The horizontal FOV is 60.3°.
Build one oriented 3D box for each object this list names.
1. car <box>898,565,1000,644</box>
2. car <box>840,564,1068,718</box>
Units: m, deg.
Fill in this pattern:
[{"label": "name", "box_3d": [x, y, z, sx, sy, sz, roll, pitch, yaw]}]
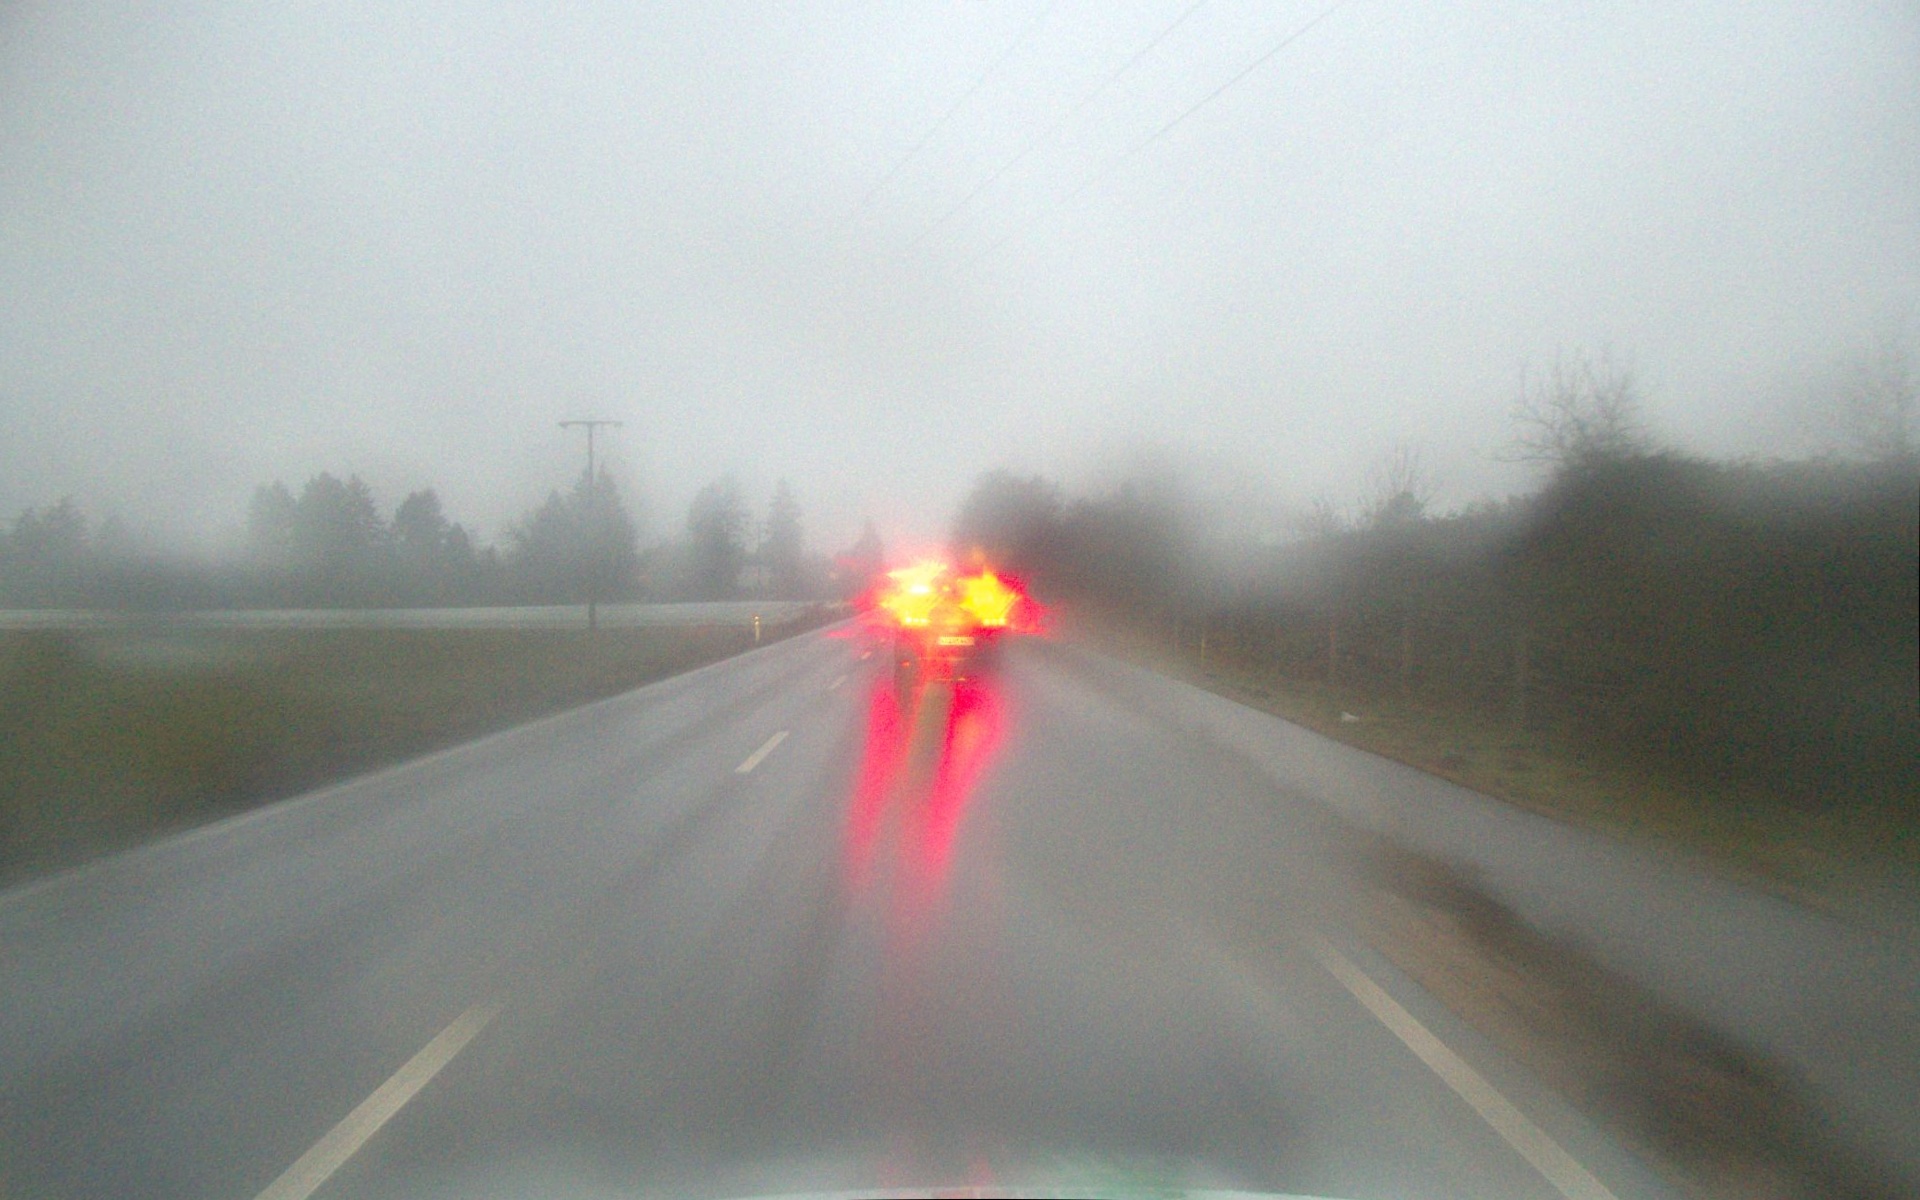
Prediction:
[{"label": "car", "box_3d": [-0.300, 0.097, 47.697, 2.699, 2.071, 6.590, -1, 0, 0]}, {"label": "car", "box_3d": [-0.091, 0.527, 26.164, 3.100, 2.071, 6.851, -1, 0, 0]}]
